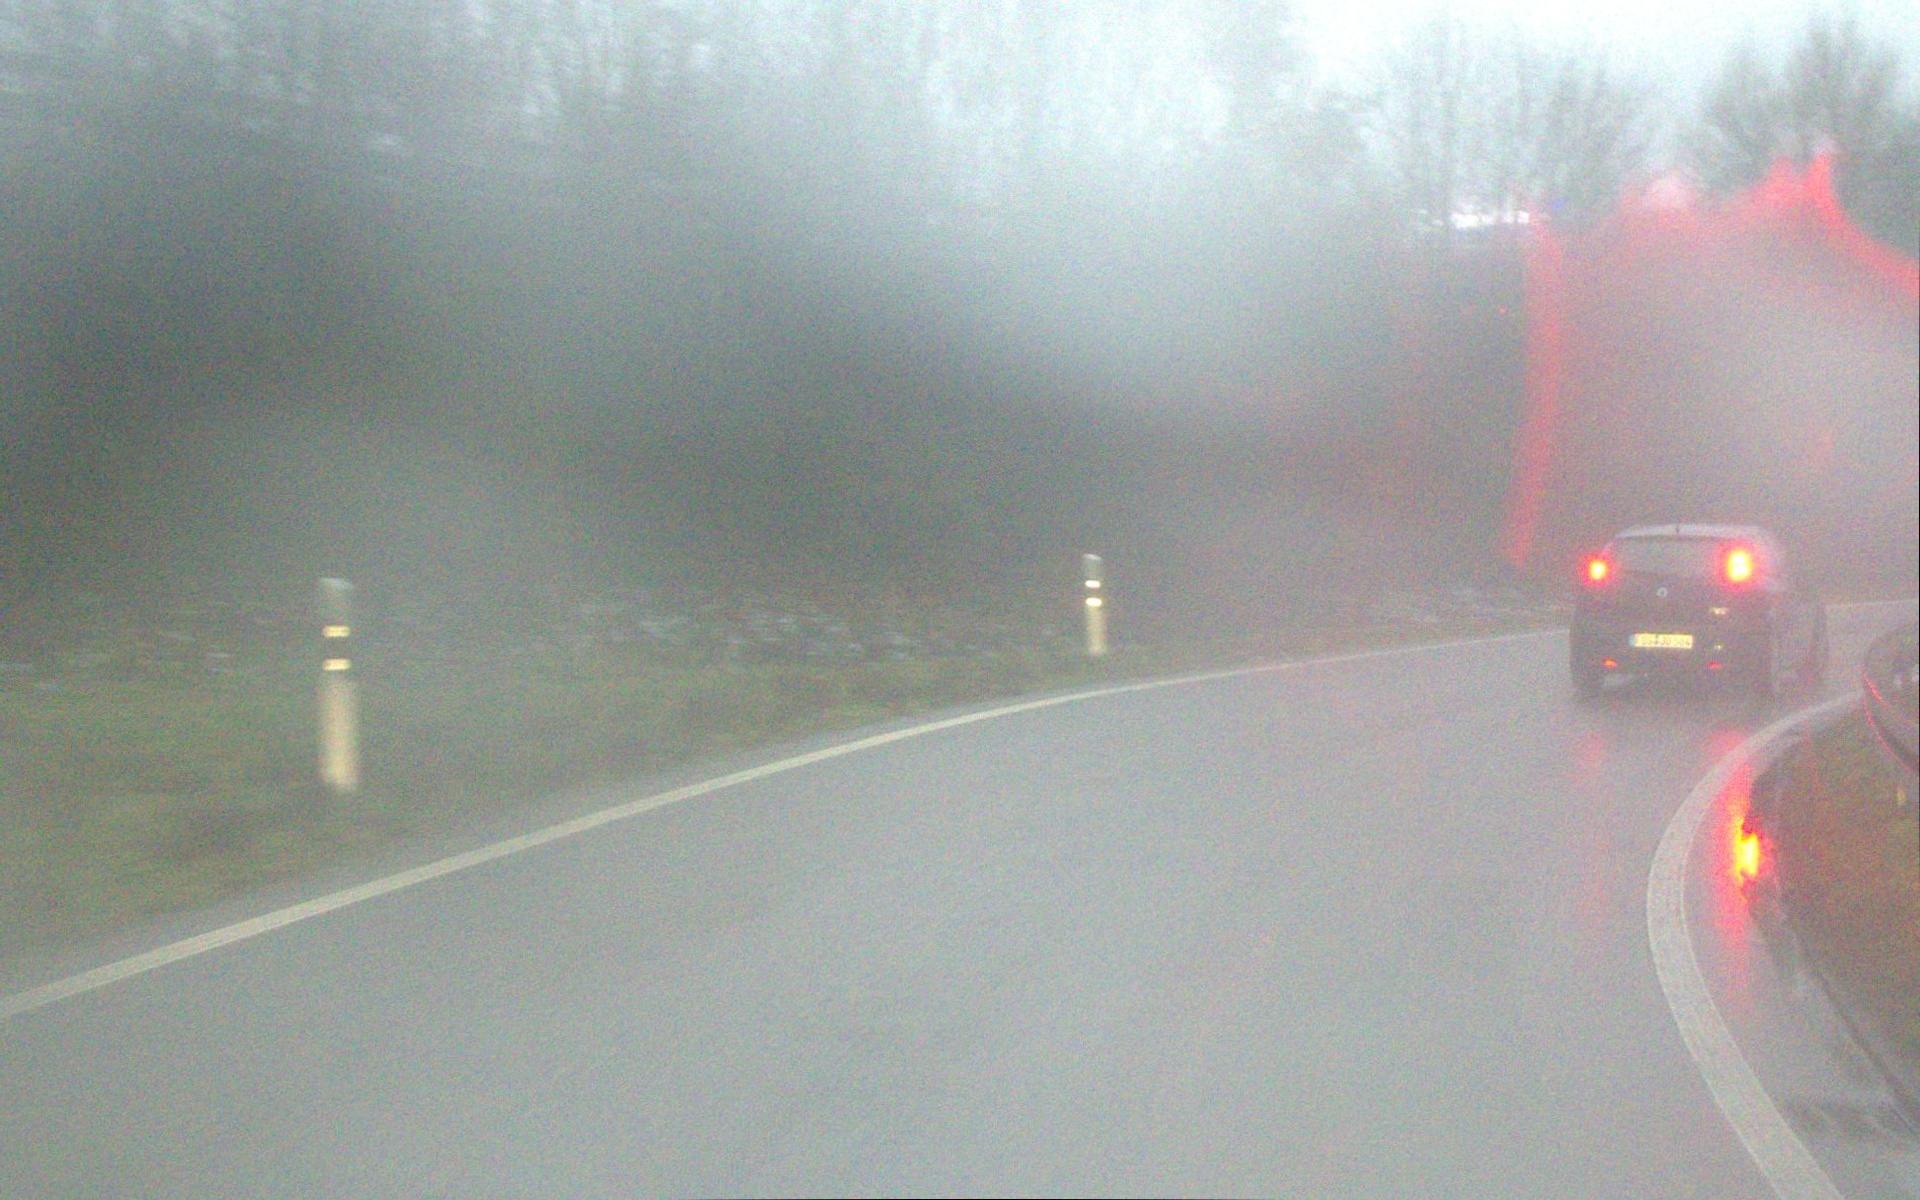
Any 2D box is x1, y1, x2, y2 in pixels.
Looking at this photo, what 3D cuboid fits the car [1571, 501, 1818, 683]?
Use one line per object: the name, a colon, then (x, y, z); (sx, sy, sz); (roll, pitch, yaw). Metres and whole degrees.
car: (6.484, -0.029, 30.089); (1.733, 1.424, 3.762); (2, -1, 17)
